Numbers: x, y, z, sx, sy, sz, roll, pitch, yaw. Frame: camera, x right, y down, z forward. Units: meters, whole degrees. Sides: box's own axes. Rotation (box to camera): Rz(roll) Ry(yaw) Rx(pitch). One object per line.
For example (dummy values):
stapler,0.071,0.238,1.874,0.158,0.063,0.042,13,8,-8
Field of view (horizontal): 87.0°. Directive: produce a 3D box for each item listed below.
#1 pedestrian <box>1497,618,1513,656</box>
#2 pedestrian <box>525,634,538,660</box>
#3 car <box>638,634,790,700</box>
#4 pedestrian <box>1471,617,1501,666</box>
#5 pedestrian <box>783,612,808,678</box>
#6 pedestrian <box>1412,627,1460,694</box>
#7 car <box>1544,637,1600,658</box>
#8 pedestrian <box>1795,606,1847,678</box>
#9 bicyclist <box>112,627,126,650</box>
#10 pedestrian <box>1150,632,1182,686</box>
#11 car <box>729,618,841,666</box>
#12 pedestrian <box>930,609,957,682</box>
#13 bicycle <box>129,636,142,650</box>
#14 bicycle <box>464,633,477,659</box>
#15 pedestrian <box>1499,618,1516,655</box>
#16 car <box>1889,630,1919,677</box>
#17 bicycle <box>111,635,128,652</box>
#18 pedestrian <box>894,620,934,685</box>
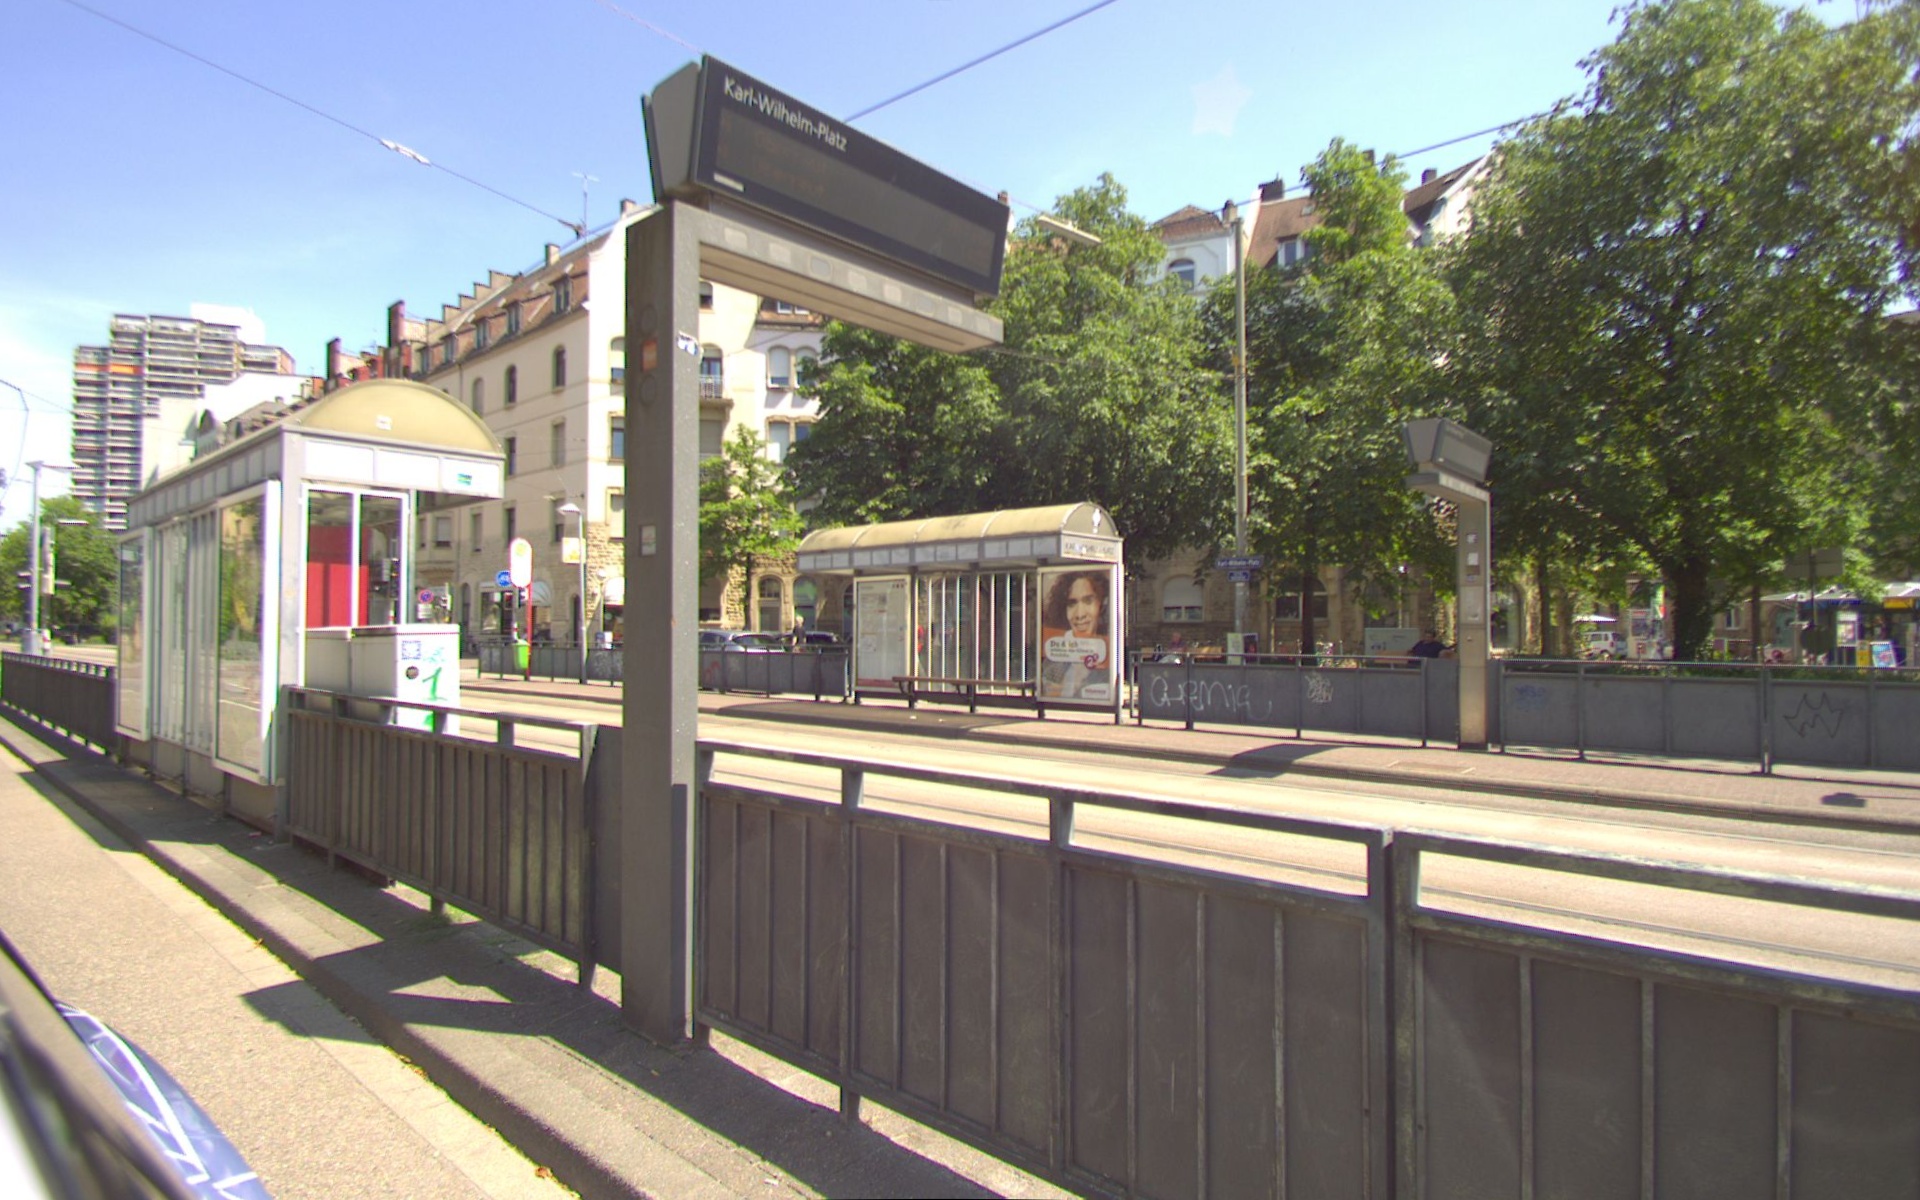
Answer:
pedestrian,24.241,1.639,45.022,0.526,1.635,0.491,-1,-1,41
pedestrian,-19.411,2.121,45.806,0.405,1.157,0.401,-1,-1,38
car,-5.726,1.483,23.346,3.716,1.349,1.525,-1,-1,40
pedestrian,19.247,1.504,37.047,0.606,1.764,0.719,0,-1,-25
pedestrian,-4.645,1.269,28.544,0.494,1.836,0.505,-1,-2,43
pedestrian,9.409,1.188,20.020,0.637,1.297,0.618,0,-1,2
car,26.472,2.037,43.814,1.899,0.872,0.856,0,-1,17
pedestrian,24.509,1.193,28.816,0.704,2.029,0.816,0,-2,-10
bicyclist,-57.969,2.661,69.755,0.585,1.586,0.602,-1,-1,41
pedestrian,4.943,1.405,24.320,0.637,1.265,0.549,0,-1,2
car,-6.067,1.432,35.068,3.525,1.587,1.588,0,-1,-26
pedestrian,-0.430,1.196,26.842,0.504,1.893,0.494,1,-2,-44
bicycle,-65.593,3.446,80.483,2.046,1.105,0.487,-2,-2,42
bicycle,-24.426,2.303,50.485,0.447,1.234,2.086,0,-1,-29
pedestrian,24.596,1.645,45.437,0.560,1.635,0.507,-1,-1,41
car,32.087,1.712,32.826,3.676,1.453,1.546,0,-1,-24
bicycle,-57.966,2.976,69.785,1.977,1.166,0.621,-2,-2,42
pedestrian,-1.185,1.323,25.876,0.772,1.618,0.673,-1,-1,38
